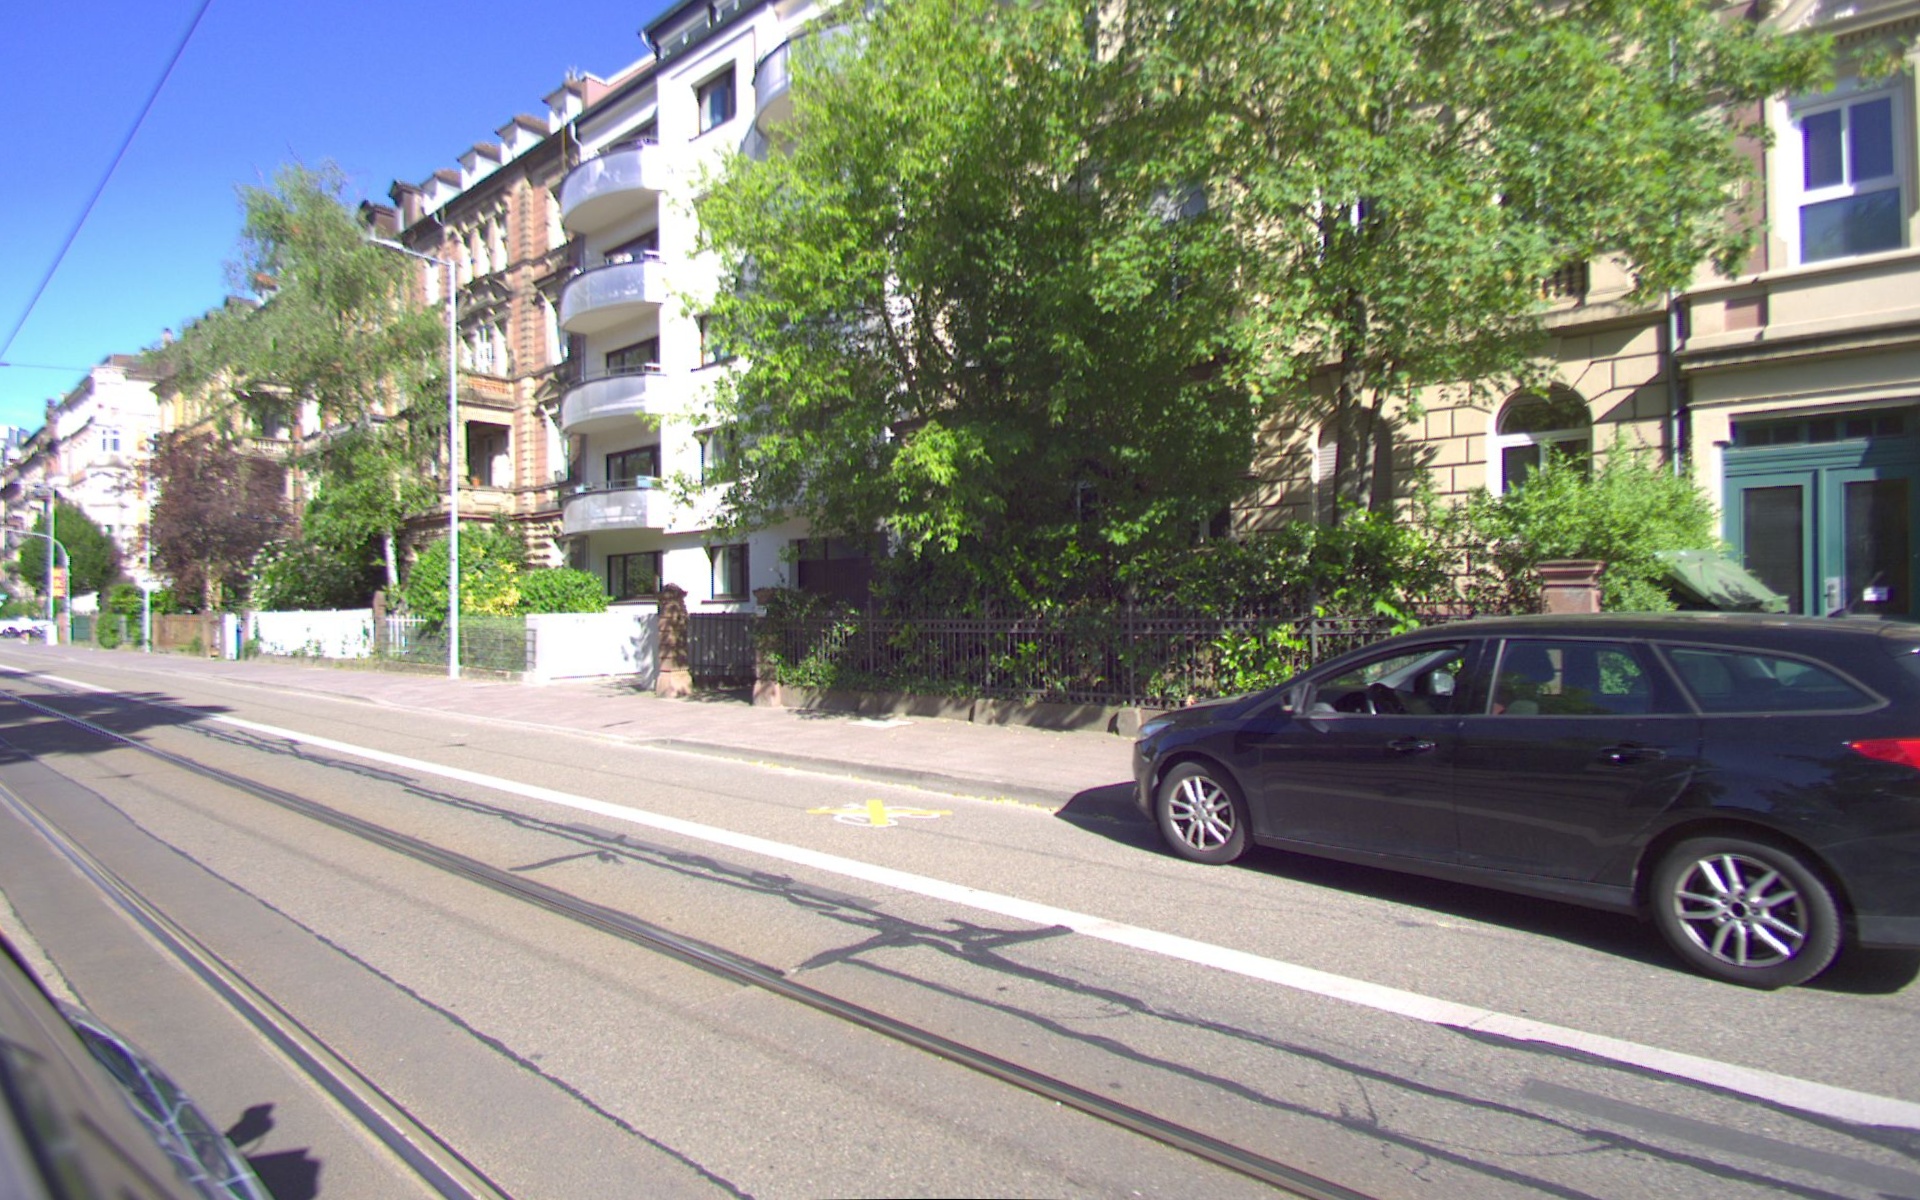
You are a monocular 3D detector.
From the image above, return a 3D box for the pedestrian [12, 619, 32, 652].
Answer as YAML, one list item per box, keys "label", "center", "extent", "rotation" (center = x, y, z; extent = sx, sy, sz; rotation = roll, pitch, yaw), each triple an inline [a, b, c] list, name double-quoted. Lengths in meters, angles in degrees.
- label: "pedestrian"
  center: [-52.859, 1.997, 57.041]
  extent: [0.798, 1.850, 0.755]
  rotation: [0, -1, -41]

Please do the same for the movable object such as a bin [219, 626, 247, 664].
- label: "movable object such as a bin"
  center: [-23.556, 1.448, 32.794]
  extent: [0.664, 1.184, 0.583]
  rotation: [-1, -1, 36]

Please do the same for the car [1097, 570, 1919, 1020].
- label: "car"
  center: [3.063, 0.753, 5.449]
  extent: [1.841, 1.588, 4.596]
  rotation: [2, -3, -39]

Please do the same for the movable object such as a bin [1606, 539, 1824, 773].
- label: "movable object such as a bin"
  center: [6.273, 0.408, 8.418]
  extent: [1.268, 1.744, 1.045]
  rotation: [-3, 1, -33]
